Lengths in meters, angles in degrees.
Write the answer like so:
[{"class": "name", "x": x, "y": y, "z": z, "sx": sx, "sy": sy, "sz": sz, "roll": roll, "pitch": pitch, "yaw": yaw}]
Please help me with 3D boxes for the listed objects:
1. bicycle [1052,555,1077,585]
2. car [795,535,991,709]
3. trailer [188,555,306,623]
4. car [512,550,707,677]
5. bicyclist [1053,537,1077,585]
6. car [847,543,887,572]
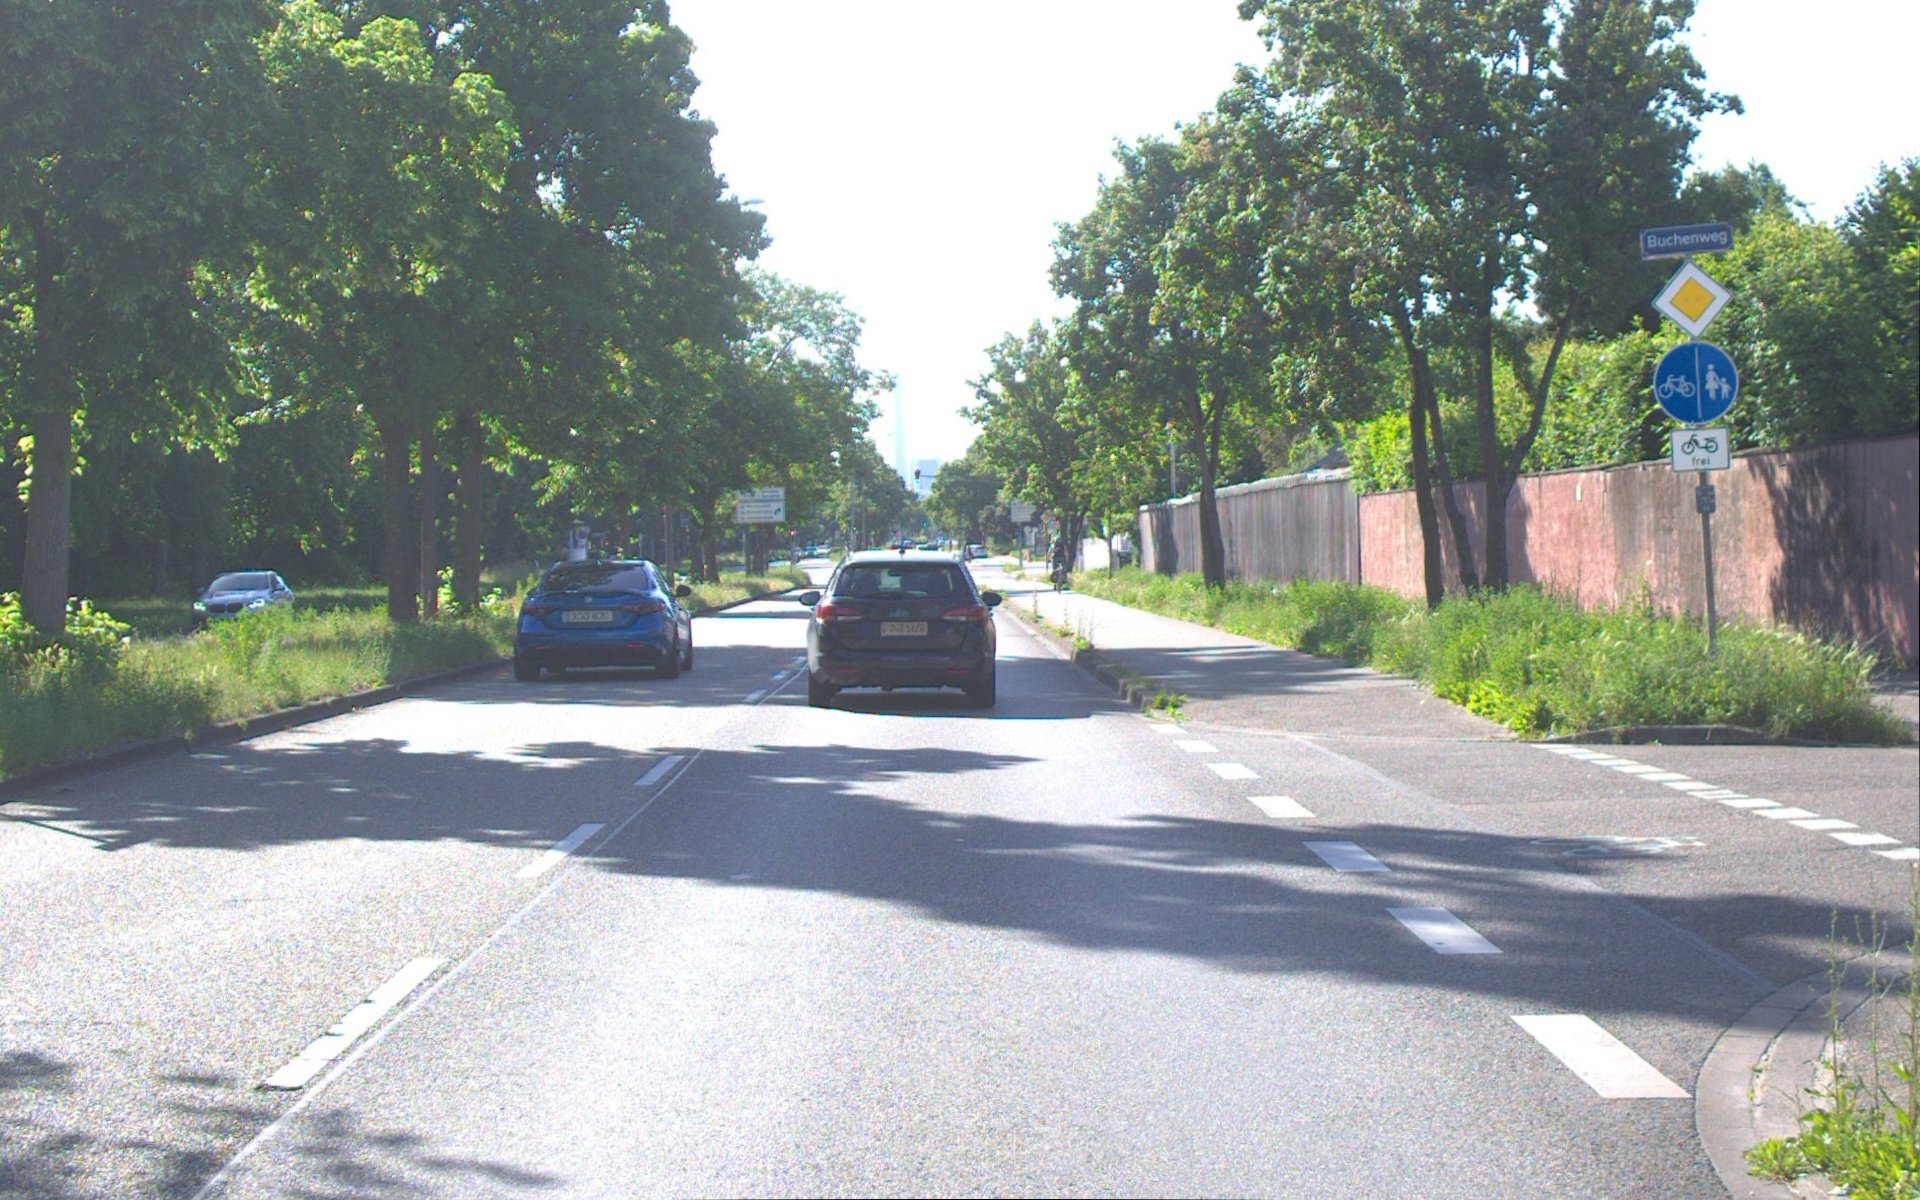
[{"class": "bicycle", "x": 3.113, "y": -0.900, "z": 102.700, "sx": 0.655, "sy": 0.889, "sz": 1.875, "roll": -1, "pitch": 1, "yaw": -1}, {"class": "car", "x": -0.588, "y": 0.171, "z": 33.209, "sx": 1.760, "sy": 1.554, "sz": 4.000, "roll": 1, "pitch": 1, "yaw": 1}, {"class": "trailer", "x": -16.484, "y": -0.280, "z": 79.686, "sx": 1.740, "sy": 1.419, "sz": 4.496, "roll": -3, "pitch": 1, "yaw": 0}, {"class": "car", "x": -4.156, "y": 0.121, "z": 41.328, "sx": 1.994, "sy": 1.400, "sz": 4.000, "roll": -1, "pitch": 1, "yaw": -1}, {"class": "bicyclist", "x": 3.130, "y": -1.177, "z": 102.661, "sx": 0.680, "sy": 1.414, "sz": 0.812, "roll": -1, "pitch": 1, "yaw": 0}, {"class": "car", "x": -5.082, "y": -2.304, "z": 186.853, "sx": 1.978, "sy": 1.435, "sz": 4.001, "roll": -1, "pitch": 2, "yaw": -4}]
